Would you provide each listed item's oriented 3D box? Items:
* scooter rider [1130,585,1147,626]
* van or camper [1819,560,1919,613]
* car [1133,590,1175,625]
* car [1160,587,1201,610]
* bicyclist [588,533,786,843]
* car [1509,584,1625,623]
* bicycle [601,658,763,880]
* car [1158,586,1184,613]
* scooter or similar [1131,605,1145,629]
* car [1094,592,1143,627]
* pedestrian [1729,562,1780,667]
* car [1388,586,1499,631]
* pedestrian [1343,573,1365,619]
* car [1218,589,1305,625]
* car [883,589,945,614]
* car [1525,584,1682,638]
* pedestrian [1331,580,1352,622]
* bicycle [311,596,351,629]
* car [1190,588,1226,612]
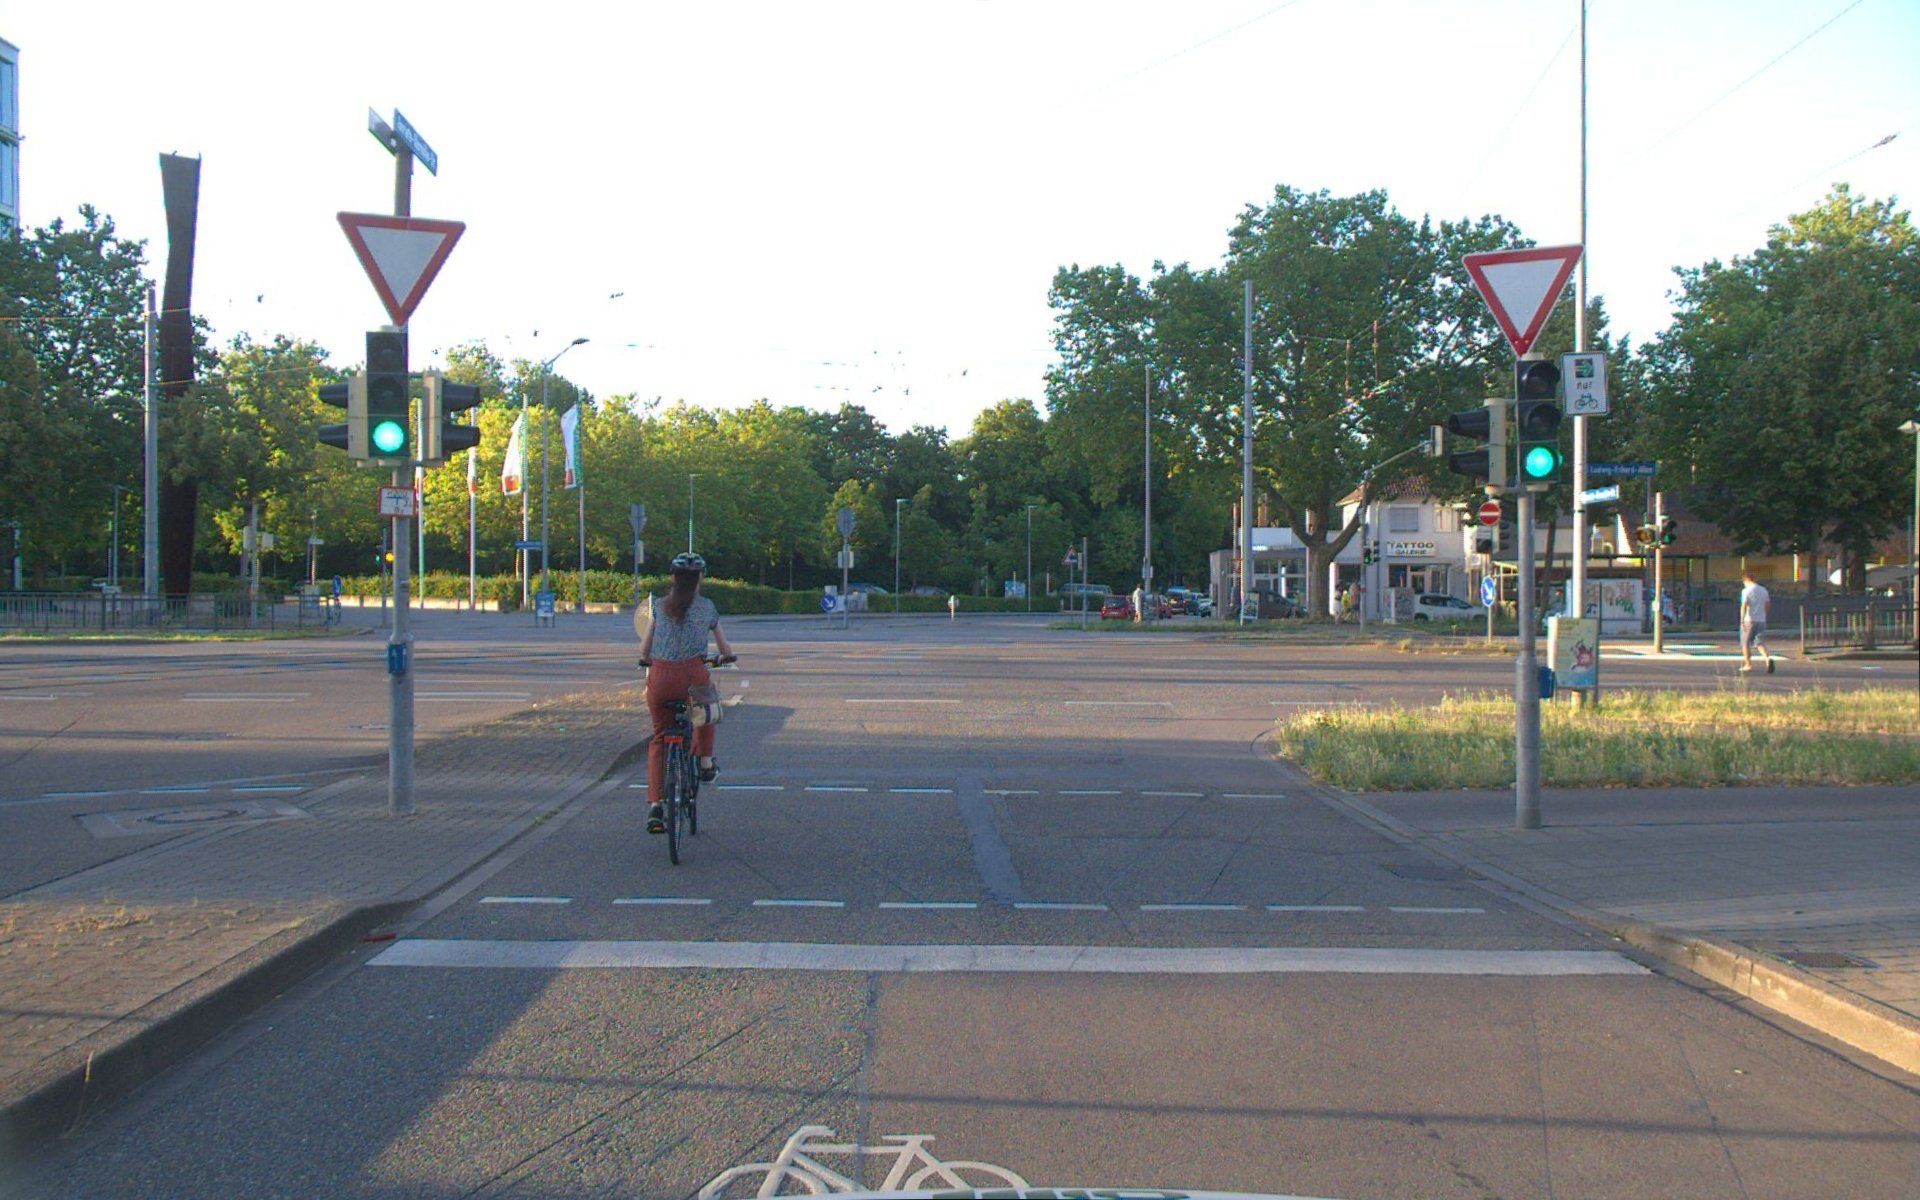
[{"bbox_3d":[8.136,0.257,75.524,0.688,1.887,0.669,0,-1,-1],"label":"scooter rider"},{"bbox_3d":[44.005,-0.602,77.388,6.425,2.452,2.265,0,-1,4],"label":"van or camper"},{"bbox_3d":[11.811,0.408,100.593,1.875,2.083,4.002,0,0,17],"label":"car"},{"bbox_3d":[15.824,-0.119,118.485,1.720,1.568,4.398,0,-1,24],"label":"car"},{"bbox_3d":[-1.591,0.494,9.823,1.010,1.748,0.996,0,0,-1],"label":"bicyclist"},{"bbox_3d":[25.398,0.121,69.321,4.142,1.605,2.001,0,0,2],"label":"car"},{"bbox_3d":[-1.594,0.929,9.795,0.621,1.086,2.122,0,0,-1],"label":"bicycle"},{"bbox_3d":[16.363,-0.051,128.510,1.951,2.049,4.003,0,0,6],"label":"car"},{"bbox_3d":[8.124,0.770,75.495,0.499,1.109,1.243,0,0,-1],"label":"scooter or similar"},{"bbox_3d":[8.925,0.537,92.919,1.829,1.907,3.875,0,0,20],"label":"car"},{"bbox_3d":[14.060,0.254,29.265,0.747,1.822,0.801,1,0,29],"label":"pedestrian"},{"bbox_3d":[20.398,0.357,69.847,4.142,1.878,2.001,0,0,2],"label":"car"},{"bbox_3d":[15.539,-0.158,65.178,0.704,1.785,0.897,0,0,24],"label":"pedestrian"},{"bbox_3d":[15.694,0.357,86.285,4.285,1.867,1.950,0,0,4],"label":"car"},{"bbox_3d":[-2.974,0.115,106.646,3.904,1.588,2.000,0,0,1],"label":"car"},{"bbox_3d":[21.059,0.353,54.238,4.445,1.758,1.860,0,0,-5],"label":"car"},{"bbox_3d":[15.291,0.025,66.286,0.704,1.667,0.897,0,0,24],"label":"pedestrian"},{"bbox_3d":[-22.864,0.434,60.144,0.685,1.156,2.391,0,0,-3],"label":"bicycle"},{"bbox_3d":[16.905,-0.005,112.736,1.875,1.630,4.002,0,0,17],"label":"car"}]
